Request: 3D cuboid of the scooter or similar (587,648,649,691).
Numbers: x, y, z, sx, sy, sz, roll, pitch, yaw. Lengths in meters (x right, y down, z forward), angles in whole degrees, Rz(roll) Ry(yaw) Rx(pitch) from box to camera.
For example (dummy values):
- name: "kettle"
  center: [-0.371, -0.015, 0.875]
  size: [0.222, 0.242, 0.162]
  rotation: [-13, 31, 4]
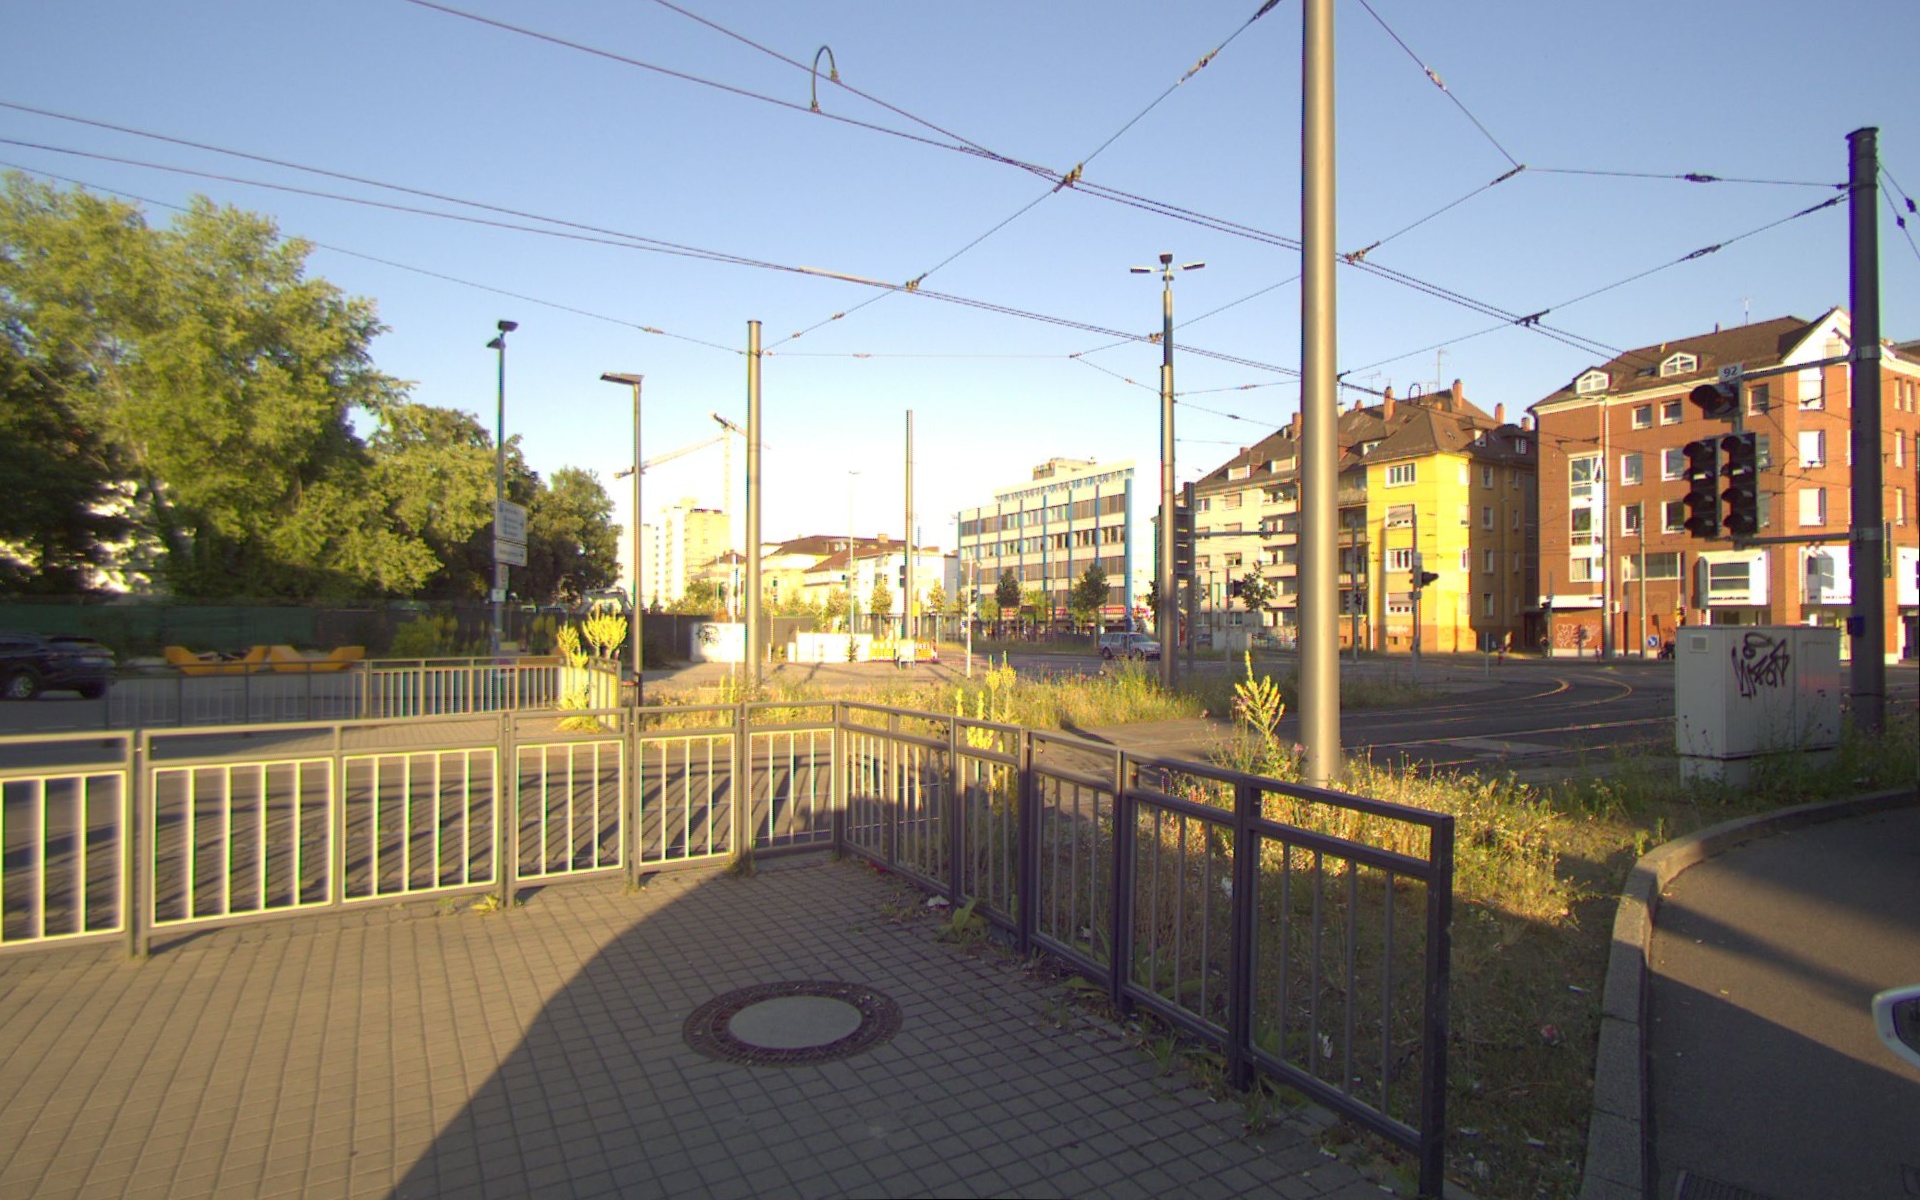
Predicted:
- name: "scooter or similar"
  center: [-9.270, 1.867, 27.292]
  size: [0.420, 1.097, 1.617]
  rotation: [1, 0, 38]

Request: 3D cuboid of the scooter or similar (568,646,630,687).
- name: "scooter or similar"
  center: [-9.913, 1.815, 27.658]
  size: [0.420, 1.077, 1.617]
  rotation: [1, 0, 38]

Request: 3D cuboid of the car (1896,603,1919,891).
- name: "car"
  center: [7.622, 0.863, 6.341]
  size: [4.052, 1.658, 1.822]
  rotation: [1, 0, -37]

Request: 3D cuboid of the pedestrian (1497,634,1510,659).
- name: "pedestrian"
  center: [37.698, 3.227, 69.658]
  size: [0.494, 1.664, 0.548]
  rotation: [1, 0, -29]

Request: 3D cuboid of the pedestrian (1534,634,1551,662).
- name: "pedestrian"
  center: [37.578, 3.107, 64.764]
  size: [0.655, 1.766, 0.690]
  rotation: [2, -1, -2]

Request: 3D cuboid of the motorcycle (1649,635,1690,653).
- name: "motorcycle"
  center: [39.259, 2.432, 55.607]
  size: [0.427, 0.920, 1.824]
  rotation: [1, 0, -31]

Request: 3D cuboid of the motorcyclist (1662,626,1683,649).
- name: "motorcyclist"
  center: [39.340, 2.068, 55.479]
  size: [0.780, 1.237, 0.699]
  rotation: [1, 0, -33]

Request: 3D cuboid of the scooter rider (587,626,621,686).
- name: "scooter rider"
  center: [-9.836, 1.538, 27.769]
  size: [0.578, 1.614, 0.654]
  rotation: [1, 0, 42]

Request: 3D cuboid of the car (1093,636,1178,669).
- name: "car"
  center: [9.203, 2.721, 52.976]
  size: [1.980, 1.572, 4.311]
  rotation: [2, -1, -34]

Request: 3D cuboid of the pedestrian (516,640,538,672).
- name: "pedestrian"
  center: [-17.191, 2.219, 39.875]
  size: [0.696, 1.227, 0.720]
  rotation: [1, 0, -29]

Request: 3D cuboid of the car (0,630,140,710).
- name: "car"
  center: [-21.313, 1.542, 22.840]
  size: [3.919, 1.567, 2.001]
  rotation: [1, 0, 9]
